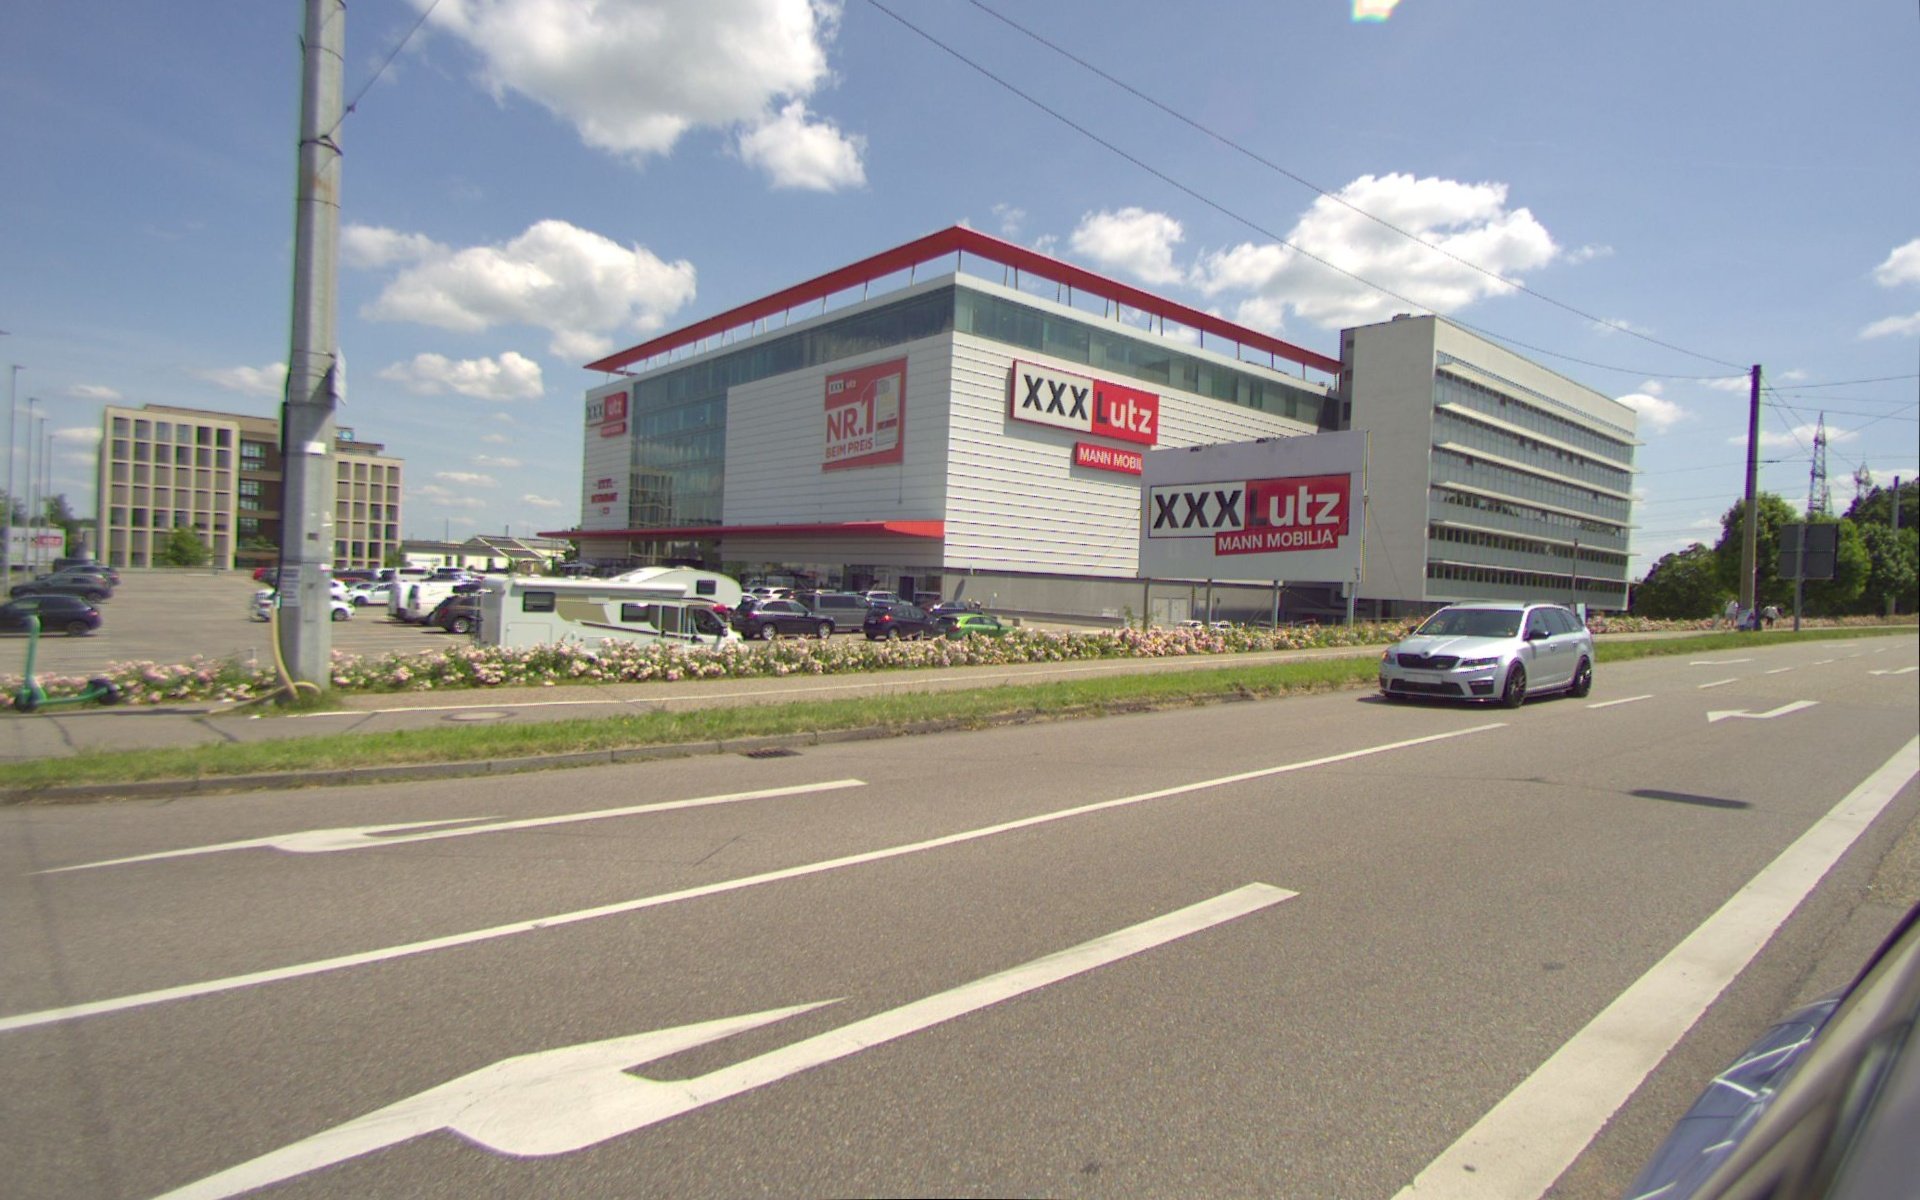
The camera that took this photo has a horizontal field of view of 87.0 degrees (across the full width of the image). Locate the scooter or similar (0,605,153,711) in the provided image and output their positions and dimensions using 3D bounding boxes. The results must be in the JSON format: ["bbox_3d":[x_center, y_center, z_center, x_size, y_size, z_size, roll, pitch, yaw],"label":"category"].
[{"bbox_3d":[-10.376,0.665,11.905,1.252,1.140,0.481,-3,1,-13],"label":"scooter or similar"}]

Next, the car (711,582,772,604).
[{"bbox_3d":[-17.531,-0.563,81.244,4.442,1.714,1.996,0,0,-42],"label":"car"}]

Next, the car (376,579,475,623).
[{"bbox_3d":[-25.753,0.011,48.811,3.929,2.039,1.997,0,0,-40],"label":"car"}]

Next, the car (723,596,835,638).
[{"bbox_3d":[-7.899,0.687,44.297,4.422,1.738,1.998,0,0,-39],"label":"car"}]

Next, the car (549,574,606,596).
[{"bbox_3d":[-29.227,-1.149,77.383,3.665,1.622,1.691,0,0,-41],"label":"car"}]

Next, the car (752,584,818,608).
[{"bbox_3d":[-12.840,-0.291,74.520,4.442,1.714,1.996,0,0,-42],"label":"car"}]

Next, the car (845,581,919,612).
[{"bbox_3d":[-5.011,-0.212,65.433,4.439,1.946,1.997,0,0,-40],"label":"car"}]

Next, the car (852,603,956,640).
[{"bbox_3d":[-2.526,0.935,46.253,4.440,1.574,1.997,0,0,-40],"label":"car"}]

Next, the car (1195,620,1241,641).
[{"bbox_3d":[21.791,2.535,85.438,3.931,1.668,1.996,0,0,-42],"label":"car"}]

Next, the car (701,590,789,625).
[{"bbox_3d":[-12.100,0.407,56.975,4.440,1.918,1.997,0,0,-40],"label":"car"}]

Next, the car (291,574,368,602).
[{"bbox_3d":[-41.640,-0.798,66.839,4.095,1.723,1.853,1,1,-39],"label":"car"}]

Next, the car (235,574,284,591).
[{"bbox_3d":[-70.089,-1.736,101.278,3.930,1.749,1.735,0,0,-41],"label":"car"}]

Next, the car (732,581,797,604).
[{"bbox_3d":[-14.781,-0.556,76.578,4.442,1.714,1.996,0,0,-42],"label":"car"}]

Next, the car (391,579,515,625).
[{"bbox_3d":[-23.597,0.067,47.203,4.877,2.039,1.998,0,0,-40],"label":"car"}]

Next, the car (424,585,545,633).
[{"bbox_3d":[-20.204,0.384,43.115,4.406,1.936,1.590,1,1,-39],"label":"car"}]

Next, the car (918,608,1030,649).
[{"bbox_3d":[0.610,1.158,42.330,4.438,1.583,1.998,0,0,-39],"label":"car"}]

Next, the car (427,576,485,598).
[{"bbox_3d":[-42.577,-1.082,85.530,4.095,1.723,1.853,0,0,-39],"label":"car"}]

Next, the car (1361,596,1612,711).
[{"bbox_3d":[7.780,0.670,14.775,4.382,1.416,1.801,0,0,-41],"label":"car"}]

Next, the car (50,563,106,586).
[{"bbox_3d":[-83.626,-2.383,96.024,3.929,2.039,1.997,1,0,-40],"label":"car"}]

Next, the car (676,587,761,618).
[{"bbox_3d":[-14.116,0.126,59.237,4.440,1.756,1.997,0,0,-40],"label":"car"}]

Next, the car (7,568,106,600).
[{"bbox_3d":[-50.482,-0.879,56.616,4.055,1.705,1.995,0,0,-44],"label":"car"}]

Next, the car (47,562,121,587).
[{"bbox_3d":[-64.045,-1.846,74.092,3.926,1.705,1.999,1,0,-37],"label":"car"}]

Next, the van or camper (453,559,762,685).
[{"bbox_3d":[-9.362,0.506,27.461,7.477,2.983,2.715,0,0,-40],"label":"van or camper"}]

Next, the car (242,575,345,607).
[{"bbox_3d":[-38.005,-0.512,57.730,4.780,1.723,1.853,0,0,-38],"label":"car"}]

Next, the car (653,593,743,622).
[{"bbox_3d":[-13.583,0.368,52.647,4.181,1.430,1.858,0,0,-41],"label":"car"}]

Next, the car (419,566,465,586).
[{"bbox_3d":[-55.273,-2.528,107.999,3.931,2.039,1.996,0,0,-42],"label":"car"}]

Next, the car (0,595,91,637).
[{"bbox_3d":[-33.167,0.543,35.636,3.874,1.393,1.852,0,0,-41],"label":"car"}]

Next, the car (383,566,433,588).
[{"bbox_3d":[-52.794,-2.172,96.867,3.926,2.039,1.999,0,0,-38],"label":"car"}]

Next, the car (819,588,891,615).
[{"bbox_3d":[-7.025,0.099,67.884,4.439,1.714,1.997,0,0,-40],"label":"car"}]

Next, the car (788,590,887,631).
[{"bbox_3d":[-5.945,0.488,49.378,4.440,1.918,1.997,0,0,-40],"label":"car"}]

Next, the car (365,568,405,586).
[{"bbox_3d":[-59.291,-2.354,104.337,3.320,1.828,1.701,0,0,-40],"label":"car"}]

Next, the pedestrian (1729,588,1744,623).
[{"bbox_3d":[41.295,0.300,53.815,0.623,1.816,0.517,1,0,-42],"label":"pedestrian"}]

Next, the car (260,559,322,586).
[{"bbox_3d":[-52.985,-2.137,80.227,3.929,2.039,1.544,1,0,-41],"label":"car"}]

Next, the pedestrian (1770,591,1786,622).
[{"bbox_3d":[45.629,0.363,56.425,0.623,1.676,0.598,1,0,-42],"label":"pedestrian"}]

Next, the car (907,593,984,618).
[{"bbox_3d":[-0.804,0.304,58.813,4.442,1.418,1.696,0,0,-42],"label":"car"}]

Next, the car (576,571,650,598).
[{"bbox_3d":[-23.938,-1.047,69.931,4.440,1.756,1.997,0,0,-40],"label":"car"}]

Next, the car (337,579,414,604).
[{"bbox_3d":[-36.125,-0.506,62.603,3.926,1.457,1.853,1,0,-38],"label":"car"}]

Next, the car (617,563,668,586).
[{"bbox_3d":[-29.631,-2.346,94.574,4.210,2.039,1.849,0,0,-40],"label":"car"}]

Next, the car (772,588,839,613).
[{"bbox_3d":[-11.112,0.049,72.835,4.442,1.714,1.996,0,0,-42],"label":"car"}]

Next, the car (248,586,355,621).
[{"bbox_3d":[-31.131,0.167,47.873,1.849,1.565,3.936,1,0,44],"label":"car"}]
